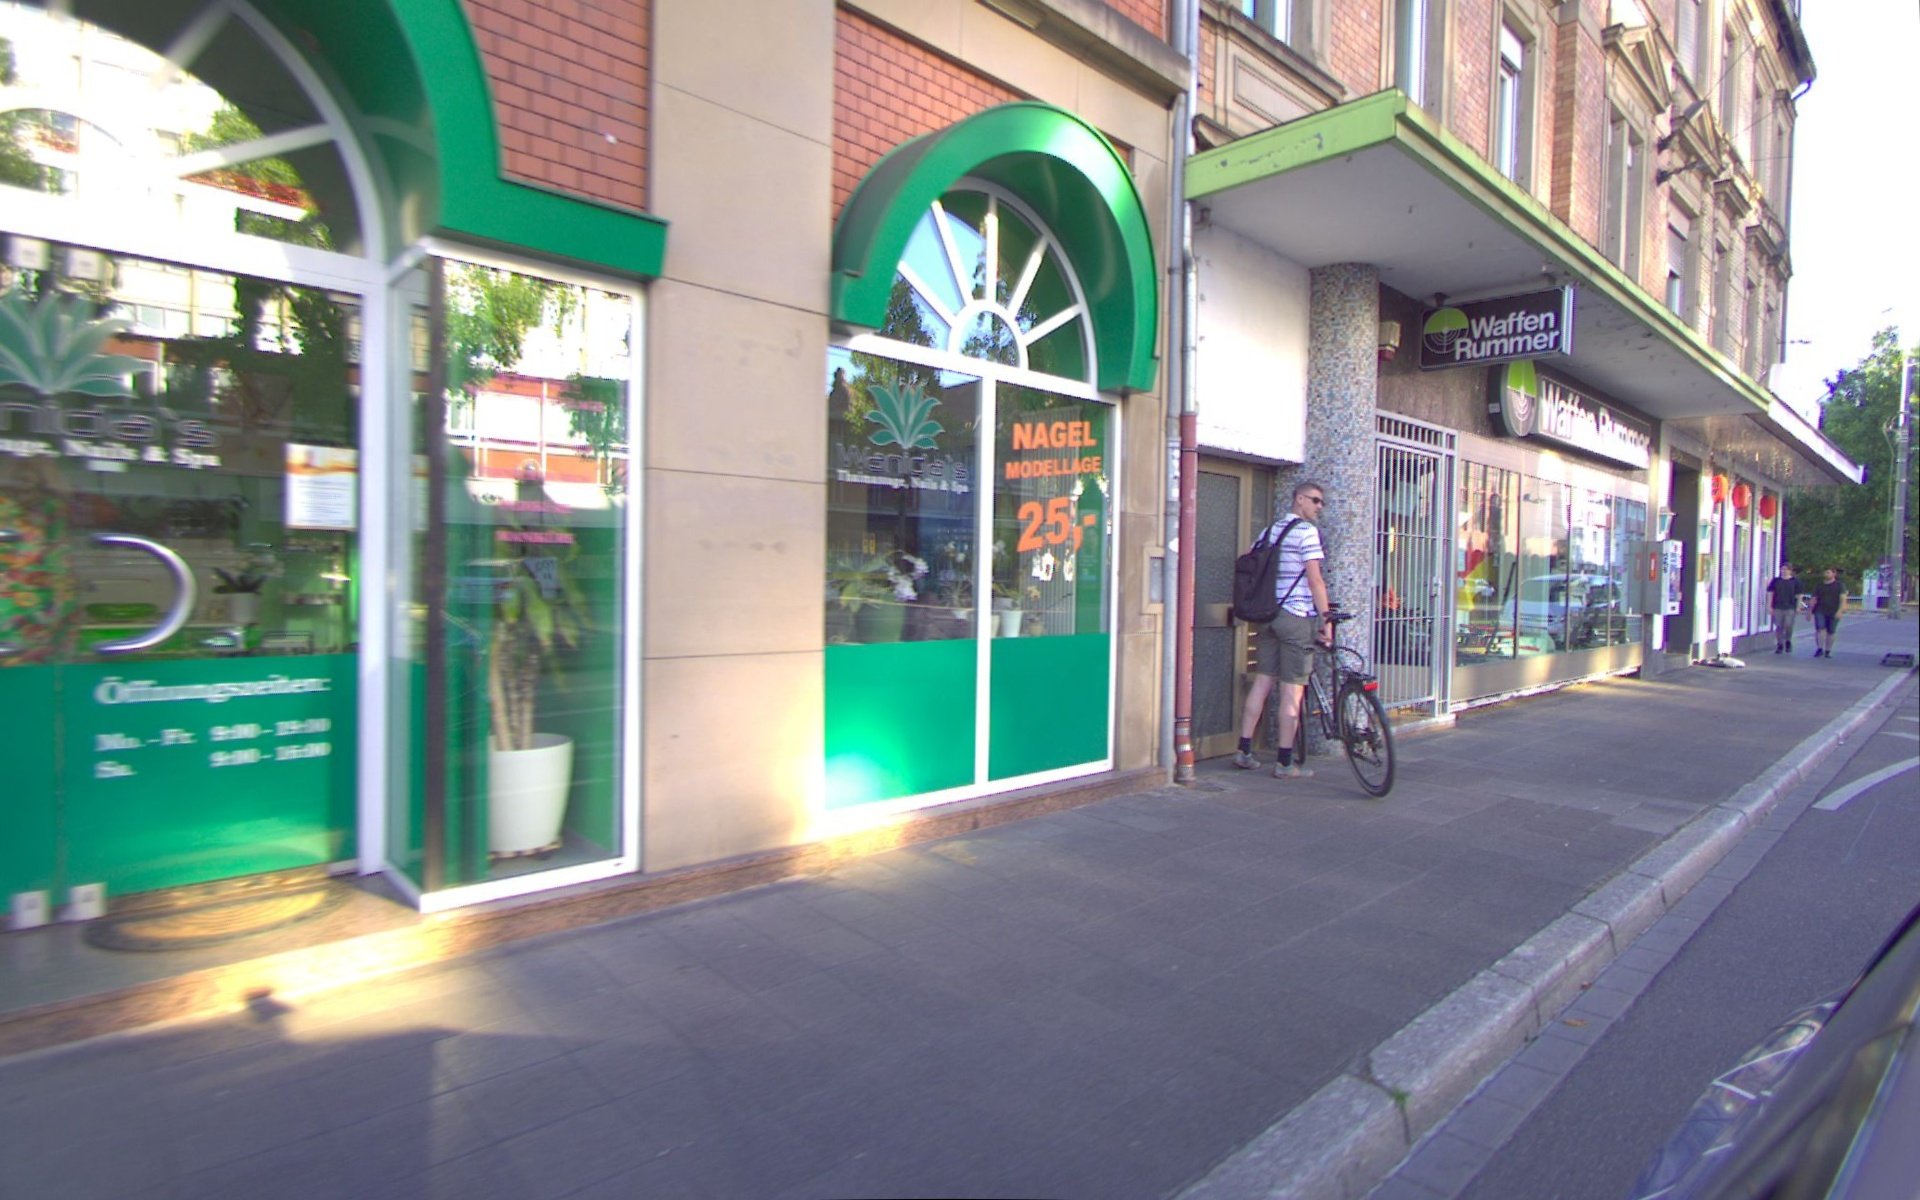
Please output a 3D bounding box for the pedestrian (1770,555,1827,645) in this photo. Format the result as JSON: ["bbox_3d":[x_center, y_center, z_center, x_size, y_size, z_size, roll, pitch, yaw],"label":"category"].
[{"bbox_3d":[16.883,-0.012,20.378,0.669,1.744,0.700,0,3,-41],"label":"pedestrian"}]

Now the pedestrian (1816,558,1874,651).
[{"bbox_3d":[17.160,0.064,19.633,0.494,1.744,0.700,0,3,-41],"label":"pedestrian"}]

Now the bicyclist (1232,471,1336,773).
[{"bbox_3d":[2.202,0.123,6.847,0.593,1.905,0.739,1,2,21],"label":"bicyclist"}]

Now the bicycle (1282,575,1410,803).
[{"bbox_3d":[2.556,0.483,6.731,0.660,1.269,1.882,1,2,21],"label":"bicycle"}]
